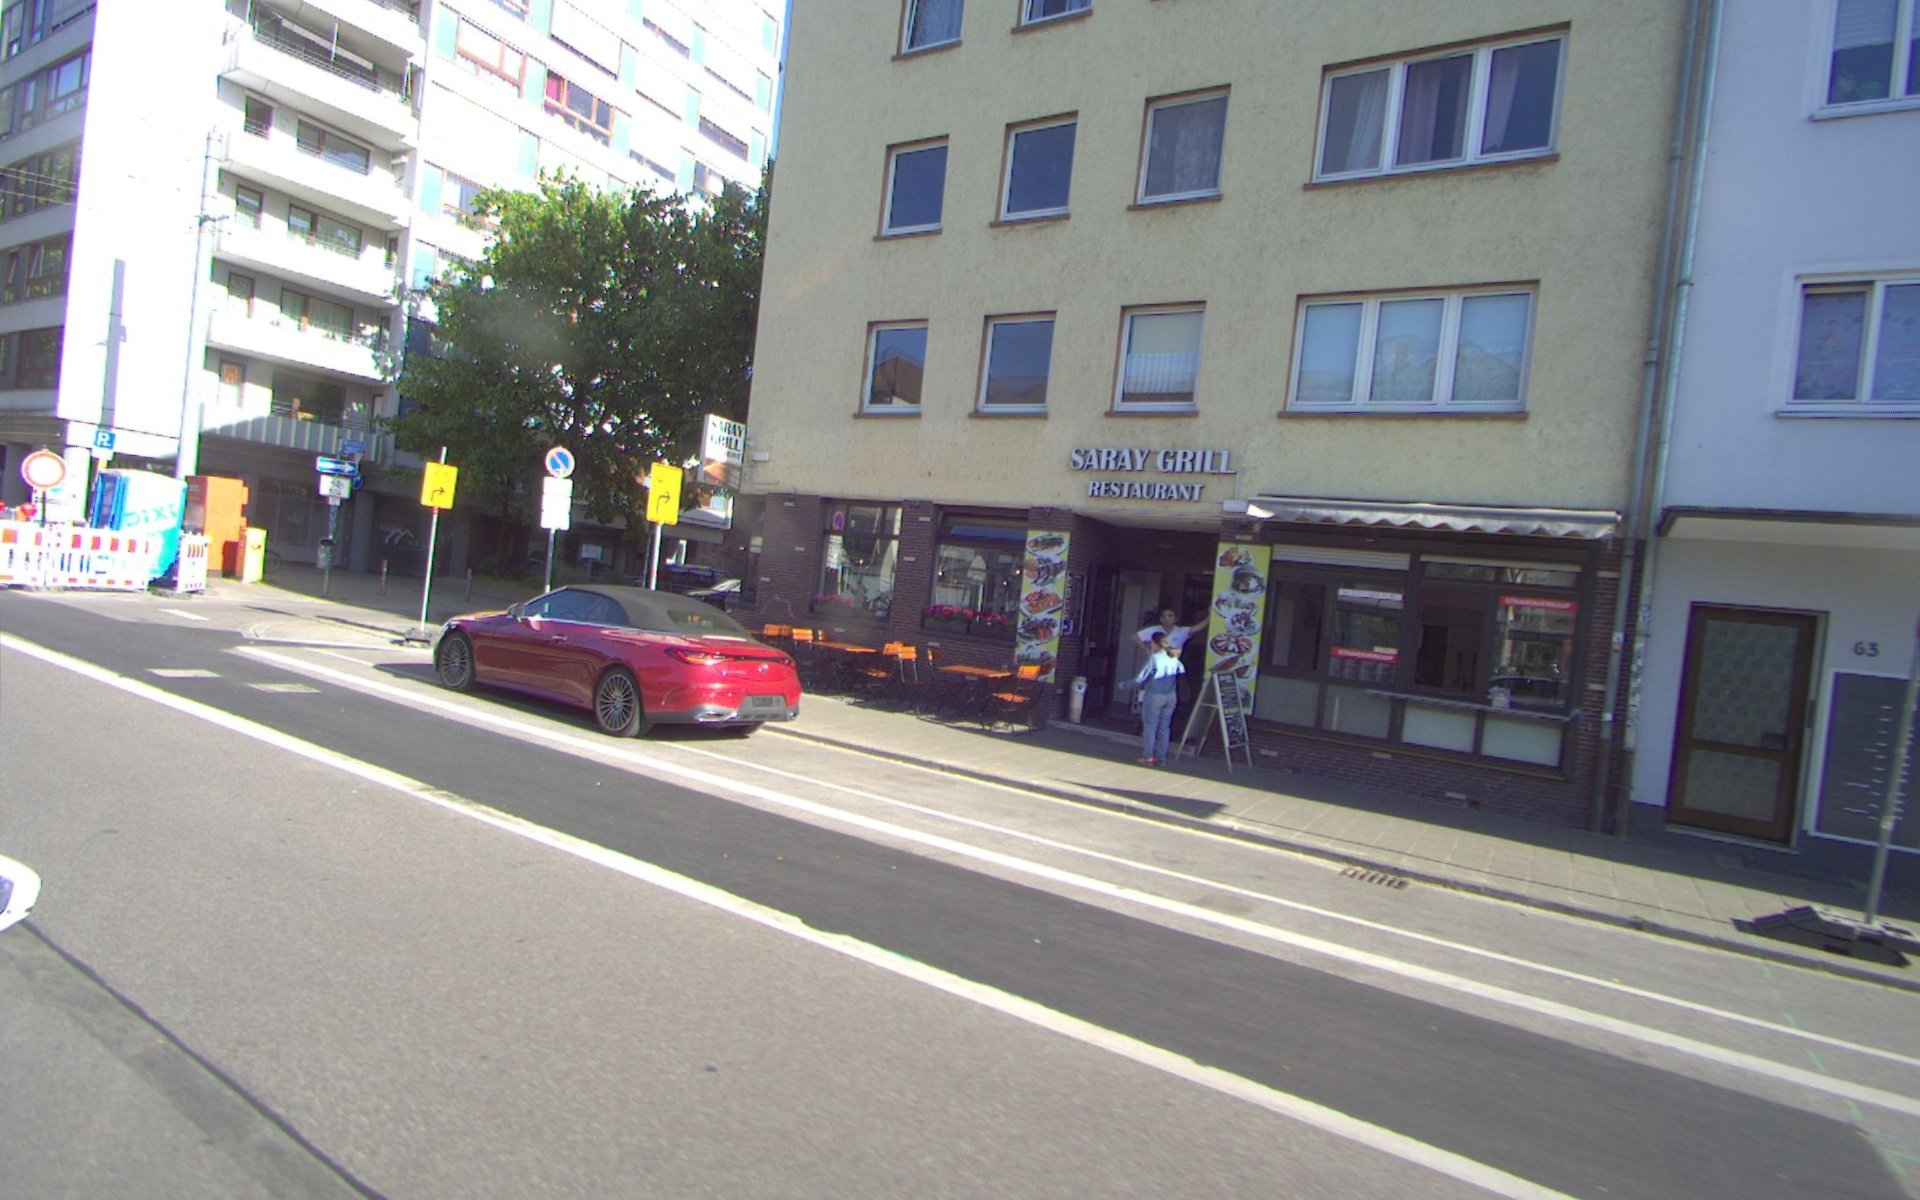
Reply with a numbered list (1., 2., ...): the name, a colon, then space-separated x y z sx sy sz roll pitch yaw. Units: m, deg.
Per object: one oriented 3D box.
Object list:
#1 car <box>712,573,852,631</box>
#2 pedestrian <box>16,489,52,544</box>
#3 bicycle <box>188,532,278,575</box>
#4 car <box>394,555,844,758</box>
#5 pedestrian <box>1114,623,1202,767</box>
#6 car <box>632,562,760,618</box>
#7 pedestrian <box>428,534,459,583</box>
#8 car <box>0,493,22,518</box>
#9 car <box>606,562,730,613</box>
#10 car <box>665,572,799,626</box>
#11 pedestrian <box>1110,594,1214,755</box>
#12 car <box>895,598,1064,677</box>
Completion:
1. car: -6.223 0.095 35.401 4.344 1.504 1.969 7 0 -40
2. pedestrian: -33.311 -3.006 36.203 0.654 1.838 0.690 7 1 31
3. bicycle: -21.051 -1.336 29.142 2.019 0.954 1.006 7 0 -39
4. car: -3.908 0.512 11.138 5.075 1.460 1.873 6 0 33
5. pedestrian: 2.268 1.073 11.515 0.641 1.525 0.671 7 1 32
6. car: -10.204 -0.372 39.068 4.204 1.624 2.129 7 0 -43
7. pedestrian: -21.311 -1.707 41.495 0.667 1.875 0.656 7 -2 34
8. car: -75.374 -7.519 79.286 1.987 1.690 4.687 6 0 -43
9. car: -11.929 -0.489 41.241 4.466 1.542 1.818 7 0 -43
10. car: -8.305 -0.031 36.871 4.250 1.435 2.068 7 0 -43
11. pedestrian: 2.548 0.931 12.690 0.886 1.877 0.729 7 1 34
12. car: 0.577 1.066 27.779 4.212 1.662 1.979 7 1 -38
